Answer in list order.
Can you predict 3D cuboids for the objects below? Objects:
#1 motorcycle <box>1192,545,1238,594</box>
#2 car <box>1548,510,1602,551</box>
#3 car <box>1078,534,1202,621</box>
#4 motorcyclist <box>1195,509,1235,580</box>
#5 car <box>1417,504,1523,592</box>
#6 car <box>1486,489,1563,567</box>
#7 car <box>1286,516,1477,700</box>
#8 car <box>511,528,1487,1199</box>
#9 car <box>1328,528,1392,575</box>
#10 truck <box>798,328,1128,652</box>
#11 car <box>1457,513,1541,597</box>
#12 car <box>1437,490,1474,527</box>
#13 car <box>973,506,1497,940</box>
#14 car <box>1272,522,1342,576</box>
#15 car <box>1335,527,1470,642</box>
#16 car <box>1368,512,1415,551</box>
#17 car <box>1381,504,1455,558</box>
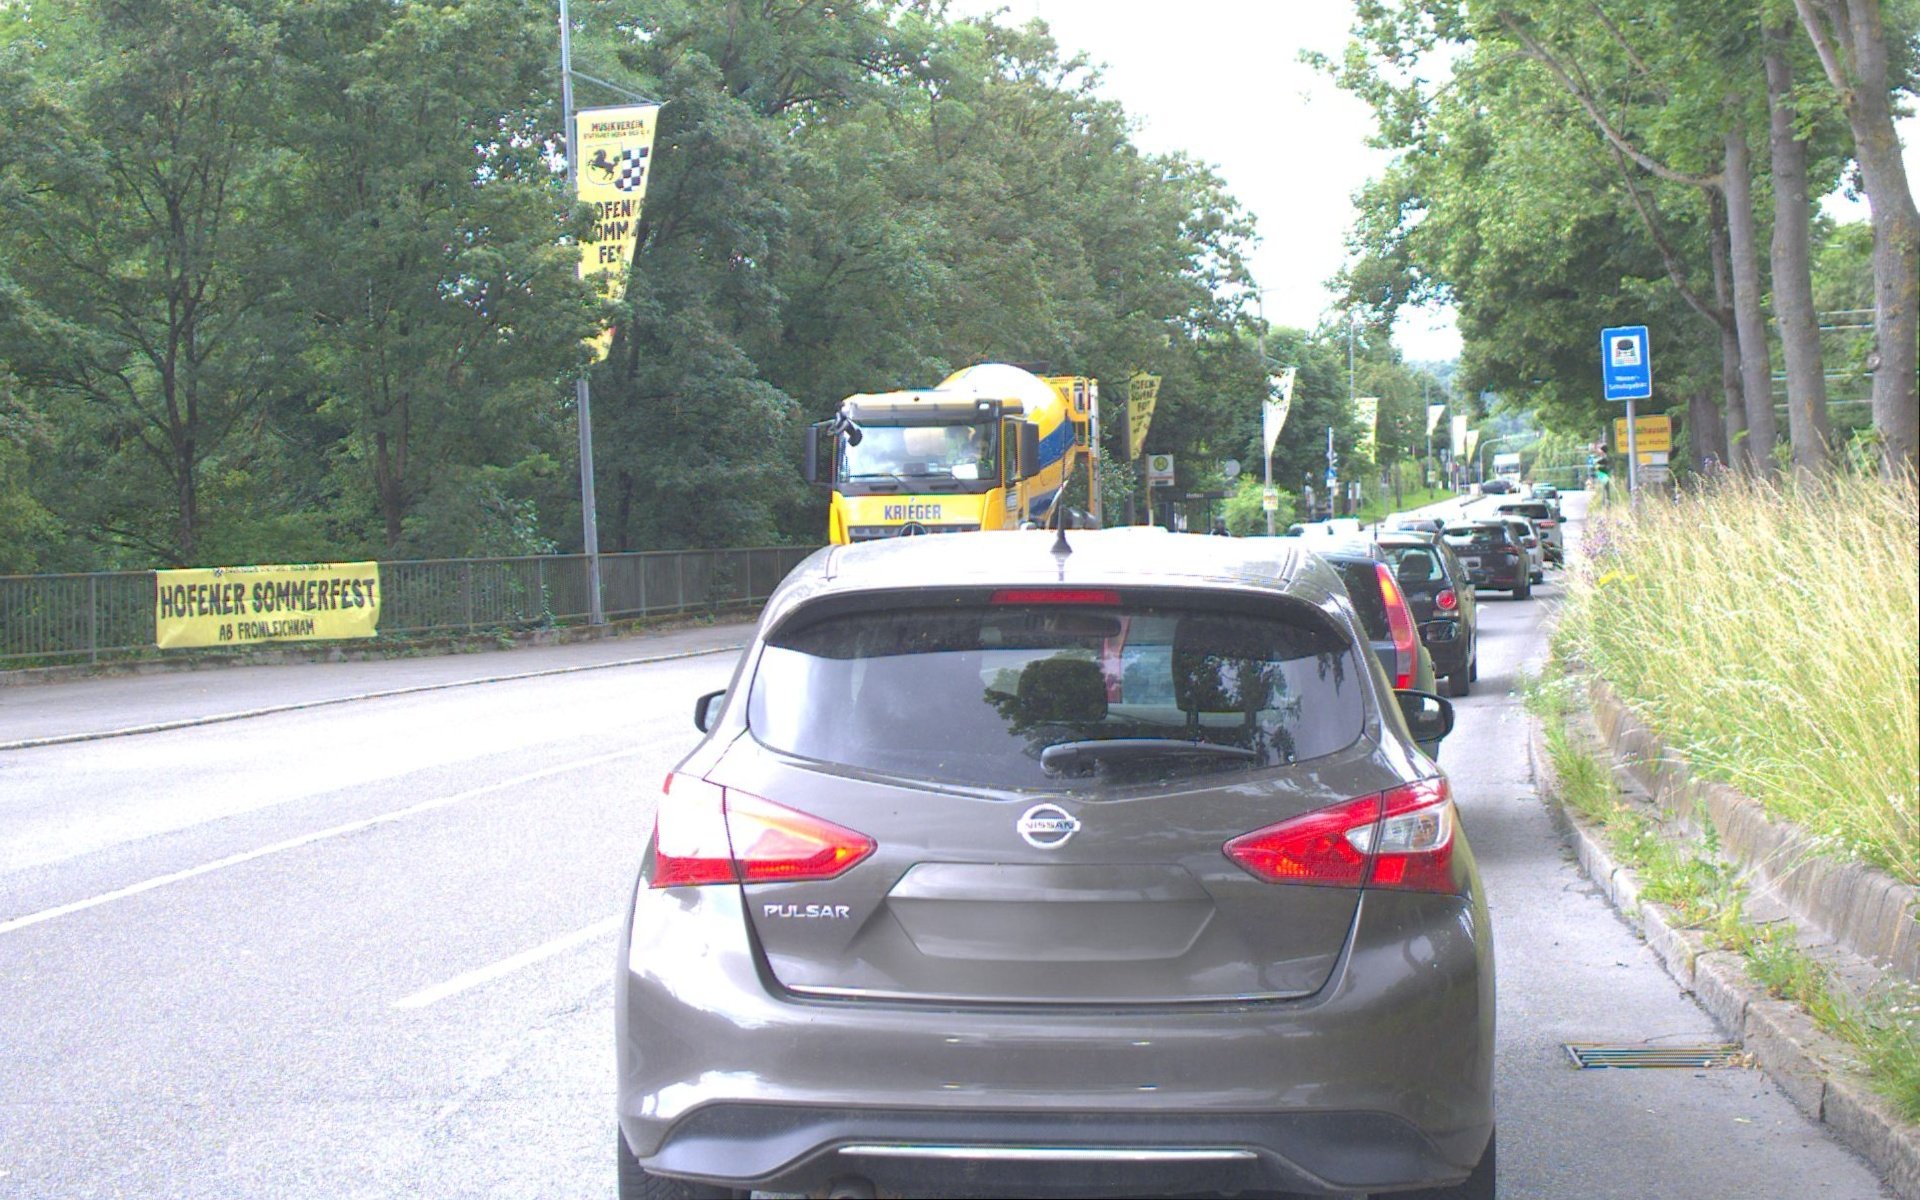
[{"bbox_3d":[5.591,-0.673,75.413,0.745,1.030,1.887,-1,1,12],"label":"motorcycle"},{"bbox_3d":[22.633,-2.568,126.426,1.891,1.440,3.805,-1,1,11],"label":"car"},{"bbox_3d":[3.282,-0.432,62.017,1.767,1.474,3.999,0,1,10],"label":"car"},{"bbox_3d":[5.599,-1.223,75.461,0.745,1.533,0.790,-1,1,12],"label":"motorcyclist"},{"bbox_3d":[9.268,-0.932,62.291,1.805,1.535,3.998,0,0,10],"label":"car"},{"bbox_3d":[15.154,-1.926,92.224,1.891,2.007,3.998,-1,1,11],"label":"car"},{"bbox_3d":[3.851,0.051,31.526,1.578,1.533,3.999,-2,0,7],"label":"car"},{"bbox_3d":[0.228,0.615,8.244,1.775,1.489,3.999,0,0,5],"label":"car"},{"bbox_3d":[13.367,-1.631,114.752,1.818,1.457,3.998,-2,1,10],"label":"car"},{"bbox_3d":[0.266,-1.431,46.930,2.656,3.925,10.107,0,1,11],"label":"truck"},{"bbox_3d":[11.862,-0.969,75.501,1.719,1.687,3.998,-2,-1,10],"label":"car"},{"bbox_3d":[25.341,-4.683,175.589,1.719,1.687,3.724,-2,-1,10],"label":"car"},{"bbox_3d":[1.120,0.452,14.545,1.893,1.568,3.999,-1,0,4],"label":"car"},{"bbox_3d":[10.328,-1.499,102.184,1.722,1.437,3.998,-2,-1,10],"label":"car"},{"bbox_3d":[5.678,-0.212,43.857,1.501,1.360,3.586,-2,0,10],"label":"car"},{"bbox_3d":[17.849,-2.825,142.157,1.753,1.415,3.998,-2,-1,9],"label":"car"},{"bbox_3d":[13.570,-2.032,101.633,1.852,1.481,4.418,-1,0,12],"label":"car"}]
